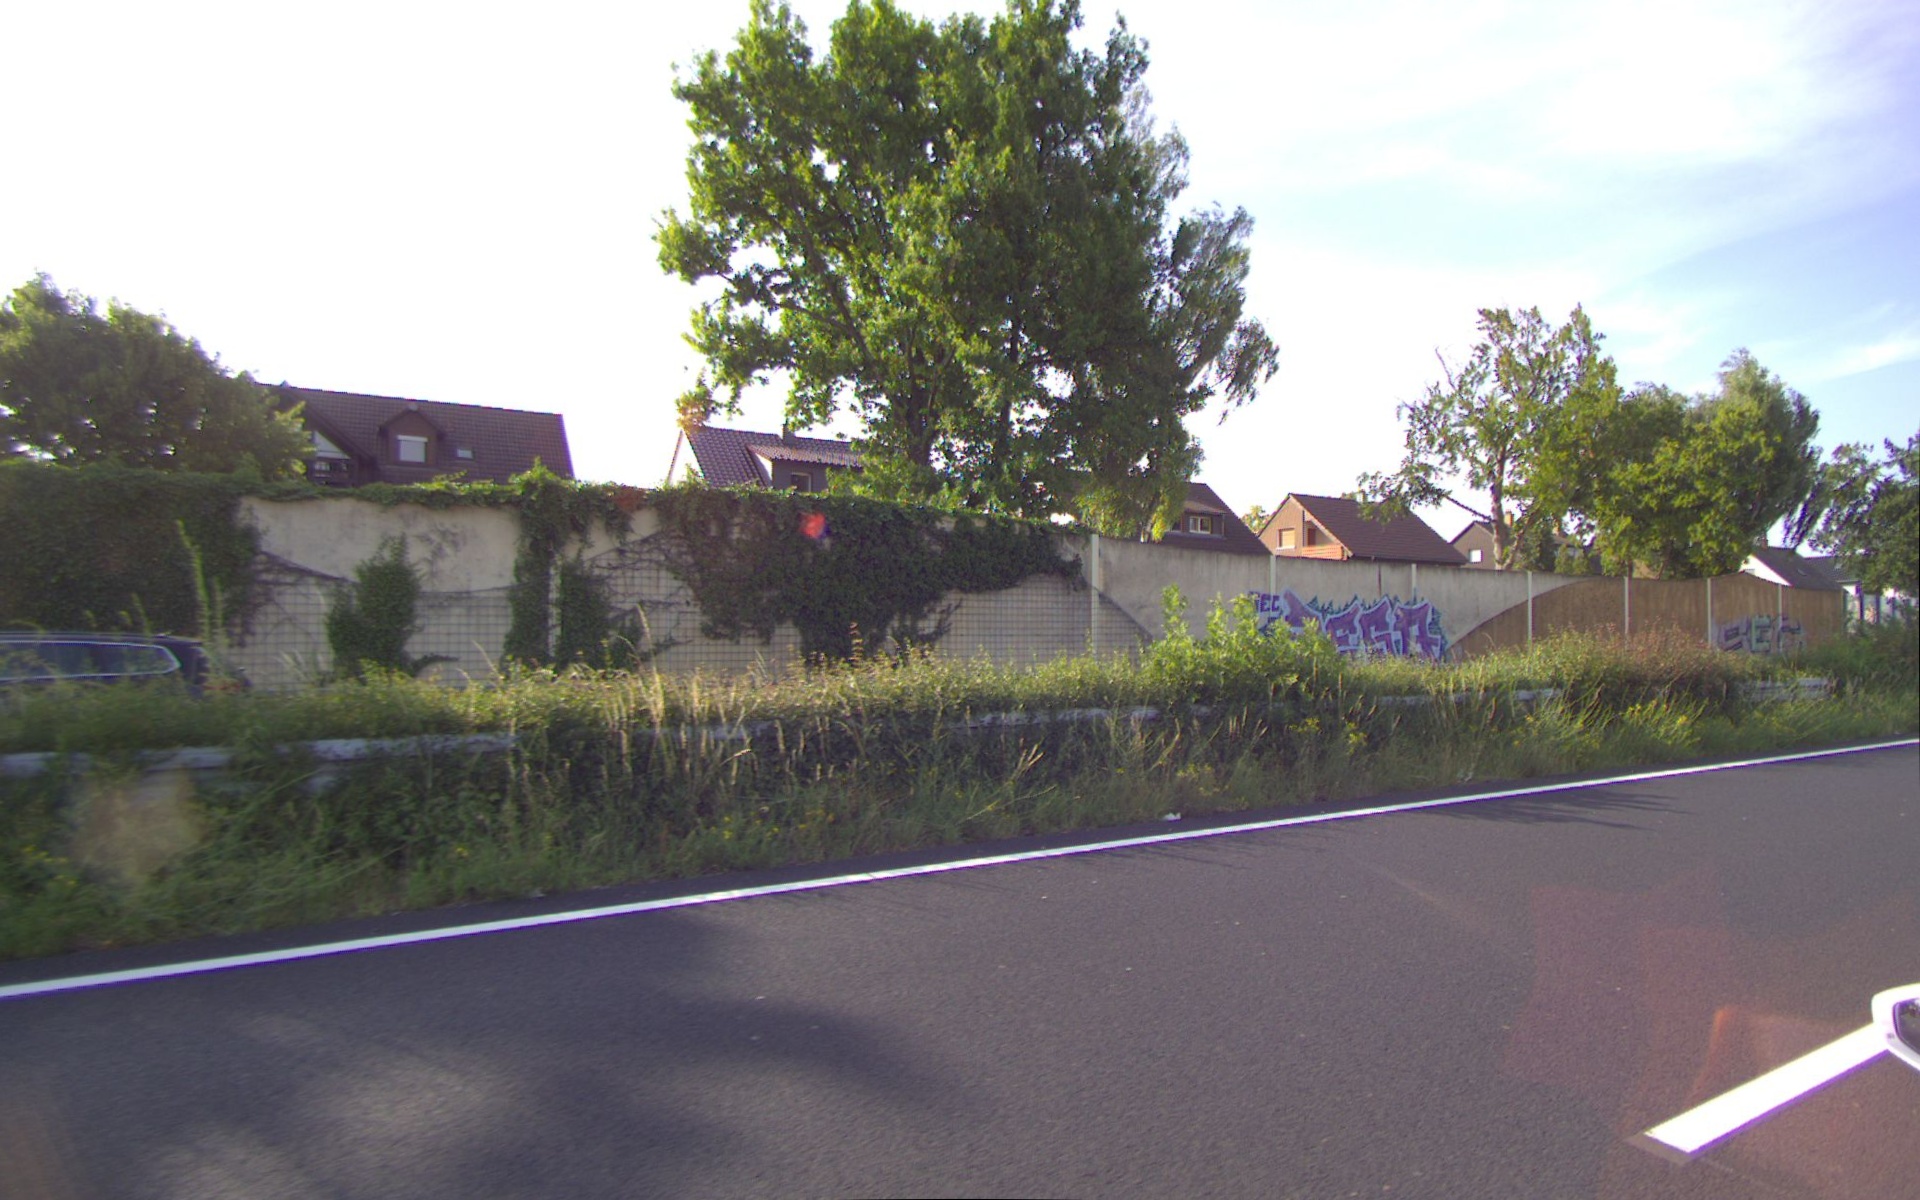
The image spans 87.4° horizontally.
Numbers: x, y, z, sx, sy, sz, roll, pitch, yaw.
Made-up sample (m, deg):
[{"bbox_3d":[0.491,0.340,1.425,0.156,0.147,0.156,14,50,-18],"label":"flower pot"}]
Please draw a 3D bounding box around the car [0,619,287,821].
[{"bbox_3d":[-9.658,1.165,10.393,4.316,1.880,1.825,2,0,-31],"label":"car"}]
